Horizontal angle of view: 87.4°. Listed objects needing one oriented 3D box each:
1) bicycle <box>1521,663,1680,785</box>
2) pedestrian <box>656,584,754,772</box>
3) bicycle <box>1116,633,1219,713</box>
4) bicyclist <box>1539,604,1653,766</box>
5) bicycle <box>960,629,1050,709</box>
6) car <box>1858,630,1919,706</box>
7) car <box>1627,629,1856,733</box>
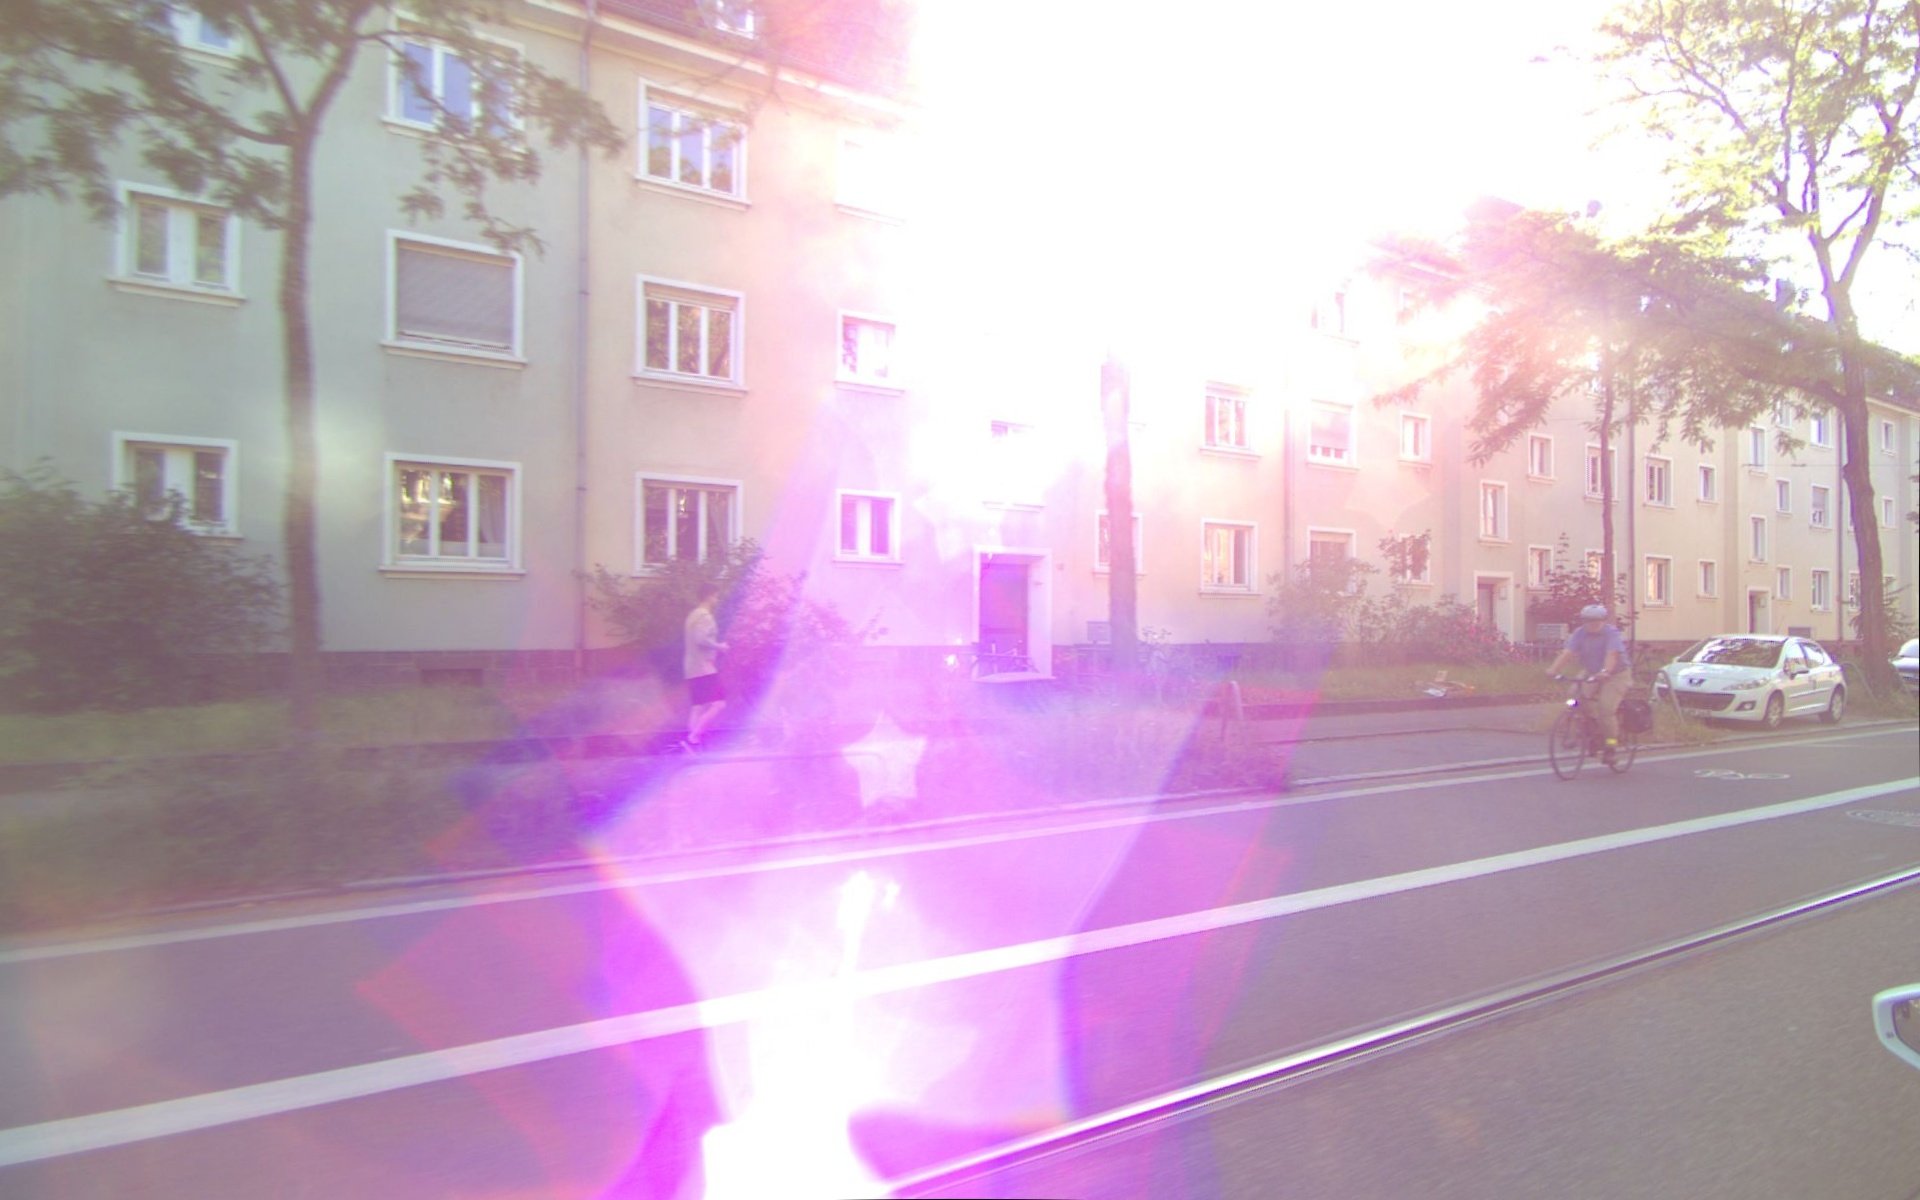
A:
[{"bbox_3d":[6.921,1.292,10.835,1.891,1.193,0.624,1,-4,-31],"label":"bicycle"},{"bbox_3d":[-2.607,0.768,10.268,0.804,1.825,0.688,1,-1,-30],"label":"pedestrian"},{"bbox_3d":[3.477,1.191,16.979,0.516,1.193,1.896,1,1,-32],"label":"bicycle"},{"bbox_3d":[6.848,0.896,10.817,0.929,1.660,0.623,1,-4,-30],"label":"bicyclist"},{"bbox_3d":[0.727,1.137,17.003,0.516,1.193,1.896,1,1,-32],"label":"bicycle"},{"bbox_3d":[21.258,1.457,21.746,3.717,1.505,1.678,1,1,-32],"label":"car"},{"bbox_3d":[13.403,1.298,17.178,4.031,1.505,1.694,1,1,-31],"label":"car"}]
